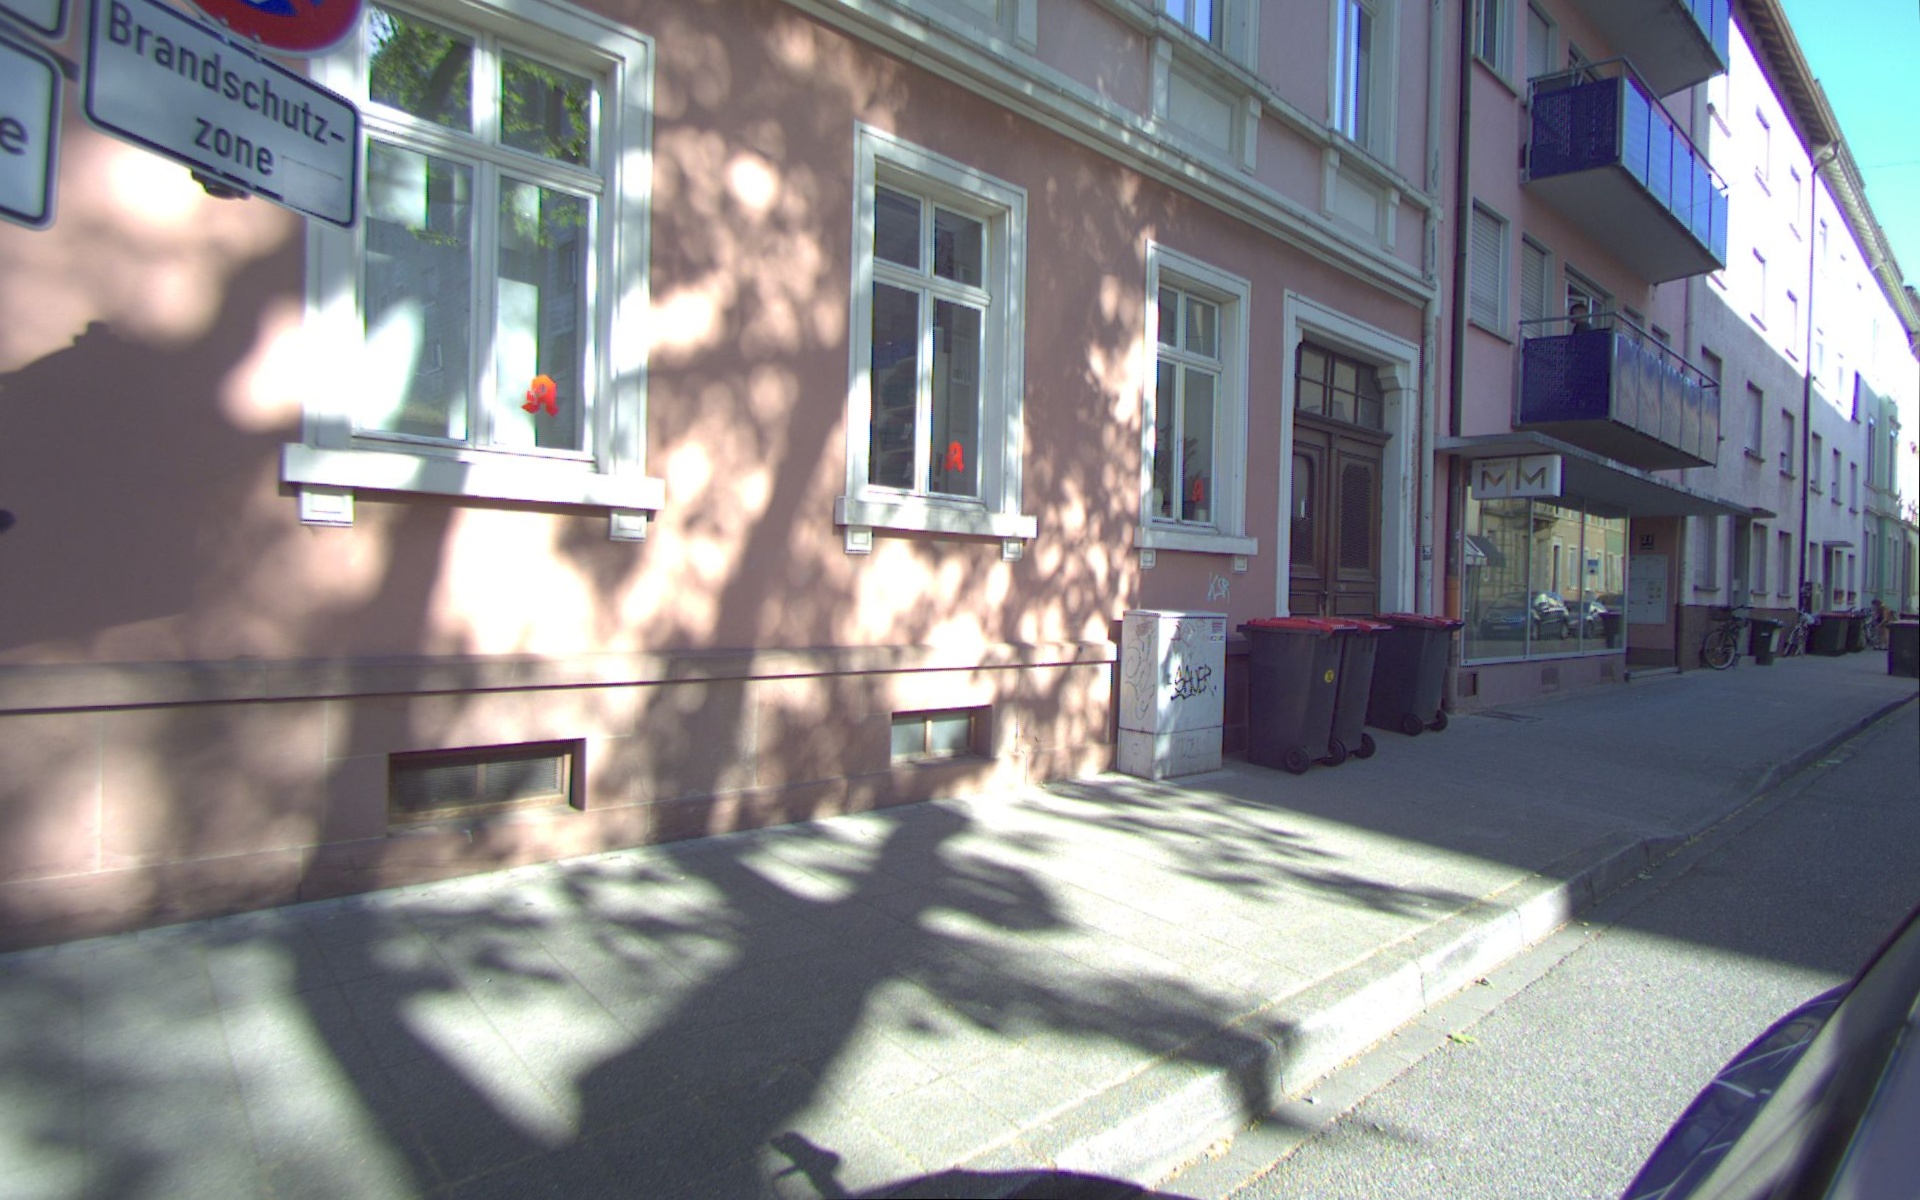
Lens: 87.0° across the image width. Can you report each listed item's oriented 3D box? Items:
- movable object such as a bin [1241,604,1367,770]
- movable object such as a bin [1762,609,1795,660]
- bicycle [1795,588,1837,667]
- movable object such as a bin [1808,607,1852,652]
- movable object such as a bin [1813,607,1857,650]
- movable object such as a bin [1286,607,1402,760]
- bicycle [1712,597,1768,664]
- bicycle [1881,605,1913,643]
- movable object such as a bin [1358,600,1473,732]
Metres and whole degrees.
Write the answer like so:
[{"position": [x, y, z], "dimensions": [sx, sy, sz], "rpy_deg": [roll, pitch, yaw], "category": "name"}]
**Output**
[{"position": [2.491, 0.596, 7.338], "dimensions": [0.643, 1.097, 0.570], "rpy_deg": [1, 3, -43], "category": "movable object such as a bin"}, {"position": [16.149, 0.679, 19.963], "dimensions": [0.297, 0.951, 0.416], "rpy_deg": [1, 3, -42], "category": "movable object such as a bin"}, {"position": [19.977, 0.619, 23.597], "dimensions": [2.070, 1.757, 0.402], "rpy_deg": [1, 1, -41], "category": "bicycle"}, {"position": [21.251, 0.713, 24.723], "dimensions": [0.537, 1.014, 0.716], "rpy_deg": [1, 3, -43], "category": "movable object such as a bin"}, {"position": [21.776, 0.698, 25.185], "dimensions": [0.537, 1.014, 0.716], "rpy_deg": [1, 3, -43], "category": "movable object such as a bin"}, {"position": [2.939, 0.609, 7.749], "dimensions": [0.601, 1.071, 0.570], "rpy_deg": [1, 3, -43], "category": "movable object such as a bin"}, {"position": [14.140, 0.533, 18.321], "dimensions": [1.989, 1.165, 0.402], "rpy_deg": [0, 1, -41], "category": "bicycle"}, {"position": [28.182, 0.699, 30.422], "dimensions": [1.899, 1.110, 0.489], "rpy_deg": [0, 1, -41], "category": "bicycle"}, {"position": [4.157, 0.578, 9.249], "dimensions": [0.608, 1.097, 0.717], "rpy_deg": [1, 3, -43], "category": "movable object such as a bin"}]
